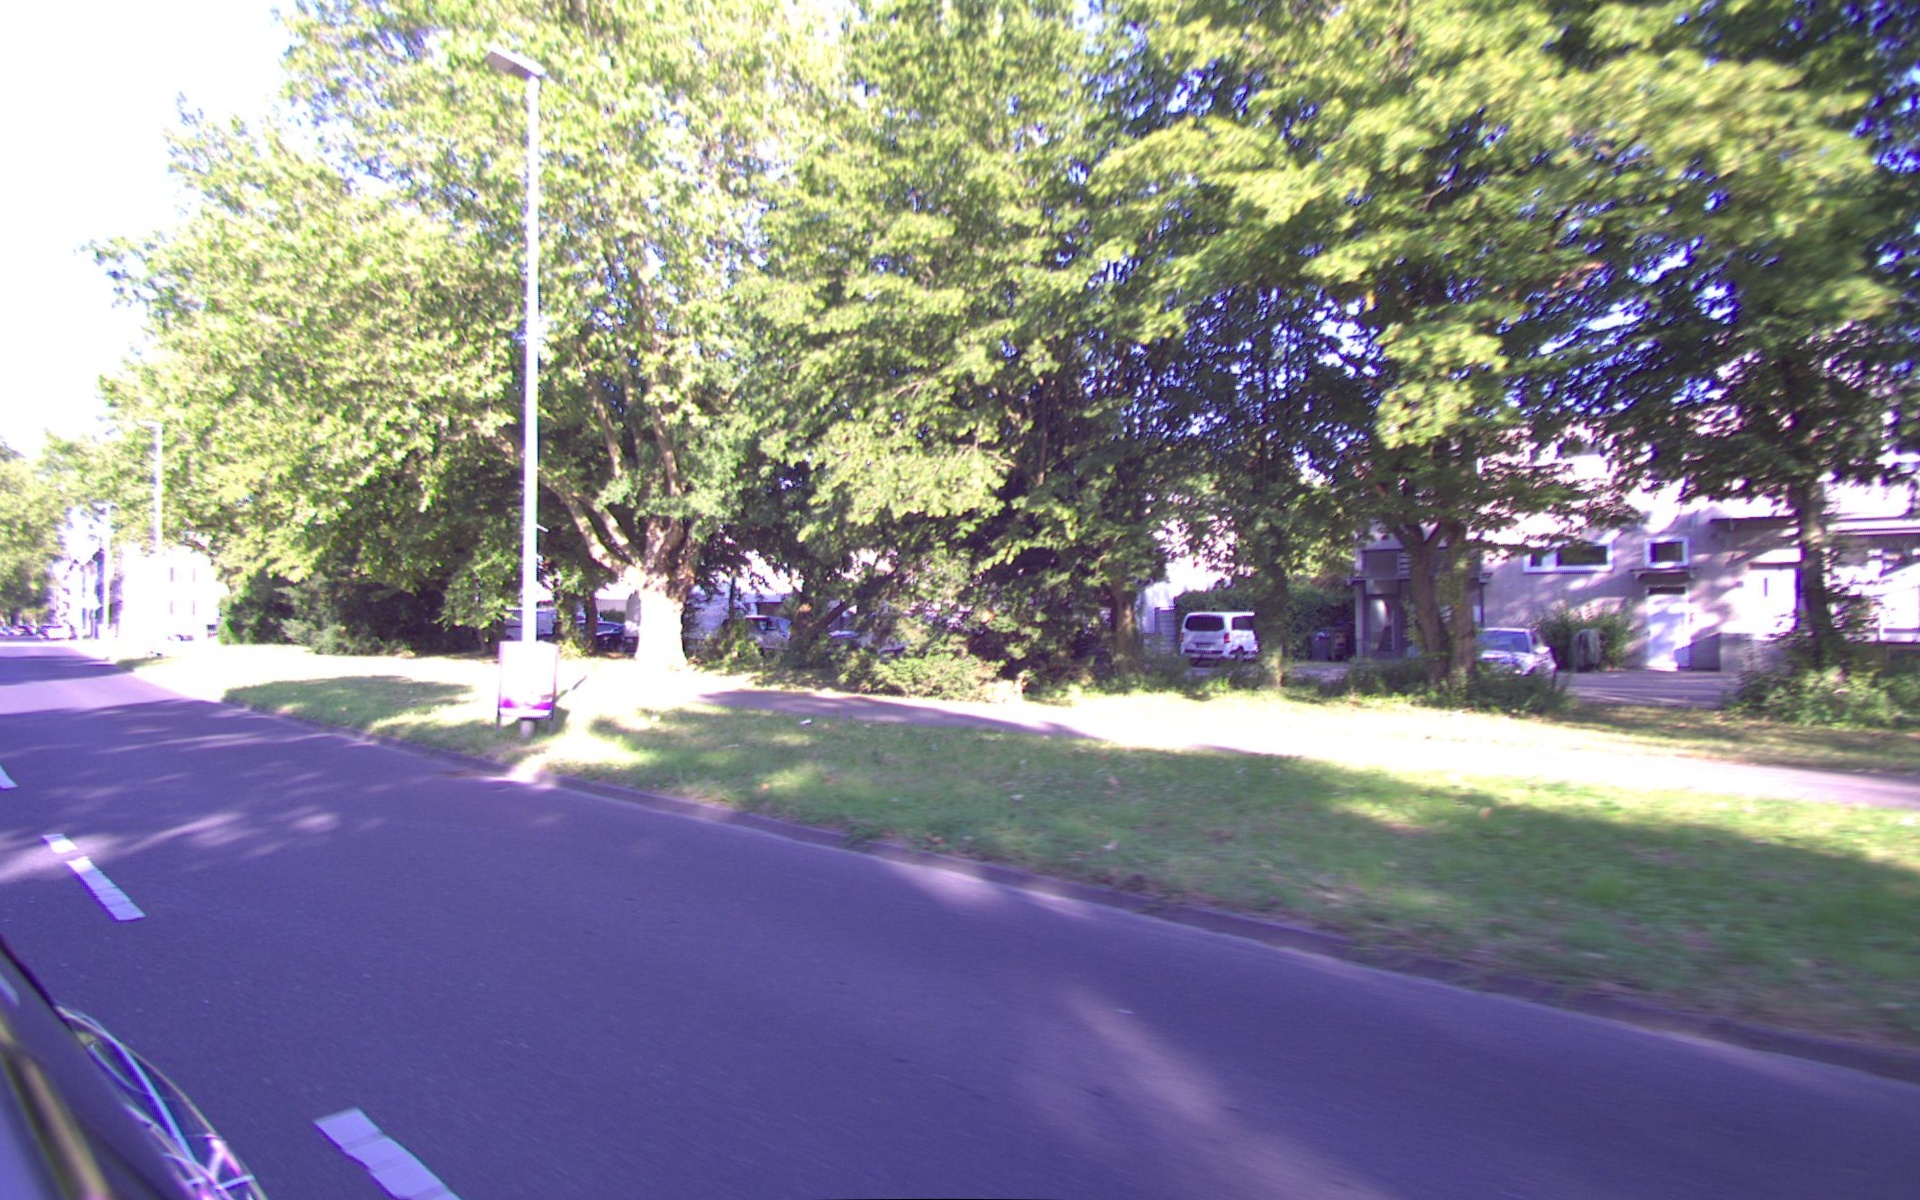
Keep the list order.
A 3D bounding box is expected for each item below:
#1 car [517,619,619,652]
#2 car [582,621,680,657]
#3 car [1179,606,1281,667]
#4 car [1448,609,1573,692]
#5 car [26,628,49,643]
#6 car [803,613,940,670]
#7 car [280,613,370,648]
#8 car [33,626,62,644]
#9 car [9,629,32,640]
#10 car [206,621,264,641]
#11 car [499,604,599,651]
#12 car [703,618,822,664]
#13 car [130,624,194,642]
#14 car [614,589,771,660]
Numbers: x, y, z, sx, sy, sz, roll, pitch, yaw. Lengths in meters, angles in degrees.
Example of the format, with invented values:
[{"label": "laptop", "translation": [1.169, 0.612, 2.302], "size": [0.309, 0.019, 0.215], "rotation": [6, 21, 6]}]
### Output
[{"label": "car", "translation": [-17.438, 1.582, 45.123], "size": [1.692, 1.392, 3.887], "rotation": [-1, -2, 42]}, {"label": "car", "translation": [-13.421, 1.560, 41.351], "size": [1.692, 1.392, 3.444], "rotation": [-1, -2, 42]}, {"label": "car", "translation": [9.738, 1.251, 36.332], "size": [1.997, 2.029, 4.502], "rotation": [0, 0, 37]}, {"label": "car", "translation": [11.034, 1.055, 20.183], "size": [1.763, 1.475, 3.697], "rotation": [-1, -5, 35]}, {"label": "car", "translation": [-105.935, 4.094, 116.183], "size": [1.844, 1.624, 4.089], "rotation": [0, -1, -45]}, {"label": "car", "translation": [-2.648, 1.253, 30.993], "size": [1.951, 1.608, 4.084], "rotation": [-1, -2, 38]}, {"label": "car", "translation": [-35.484, 1.678, 56.614], "size": [1.727, 1.696, 3.944], "rotation": [-3, 0, 43]}, {"label": "car", "translation": [-77.907, 2.978, 86.443], "size": [1.739, 1.494, 4.114], "rotation": [-1, 0, -41]}, {"label": "car", "translation": [-133.737, 4.947, 144.096], "size": [1.871, 1.602, 4.079], "rotation": [2, -3, -36]}, {"label": "car", "translation": [-61.829, 2.628, 86.424], "size": [3.932, 1.573, 1.870], "rotation": [0, -1, -33]}, {"label": "car", "translation": [-19.346, 1.283, 47.770], "size": [1.906, 2.060, 3.949], "rotation": [-3, -2, 38]}, {"label": "car", "translation": [-6.724, 1.374, 34.711], "size": [1.813, 1.511, 3.686], "rotation": [-1, -2, 42]}, {"label": "car", "translation": [-66.106, 2.704, 83.899], "size": [3.932, 1.429, 1.919], "rotation": [1, -2, -33]}, {"label": "car", "translation": [-10.069, 0.991, 38.410], "size": [2.187, 2.521, 5.370], "rotation": [-1, -3, 43]}]
